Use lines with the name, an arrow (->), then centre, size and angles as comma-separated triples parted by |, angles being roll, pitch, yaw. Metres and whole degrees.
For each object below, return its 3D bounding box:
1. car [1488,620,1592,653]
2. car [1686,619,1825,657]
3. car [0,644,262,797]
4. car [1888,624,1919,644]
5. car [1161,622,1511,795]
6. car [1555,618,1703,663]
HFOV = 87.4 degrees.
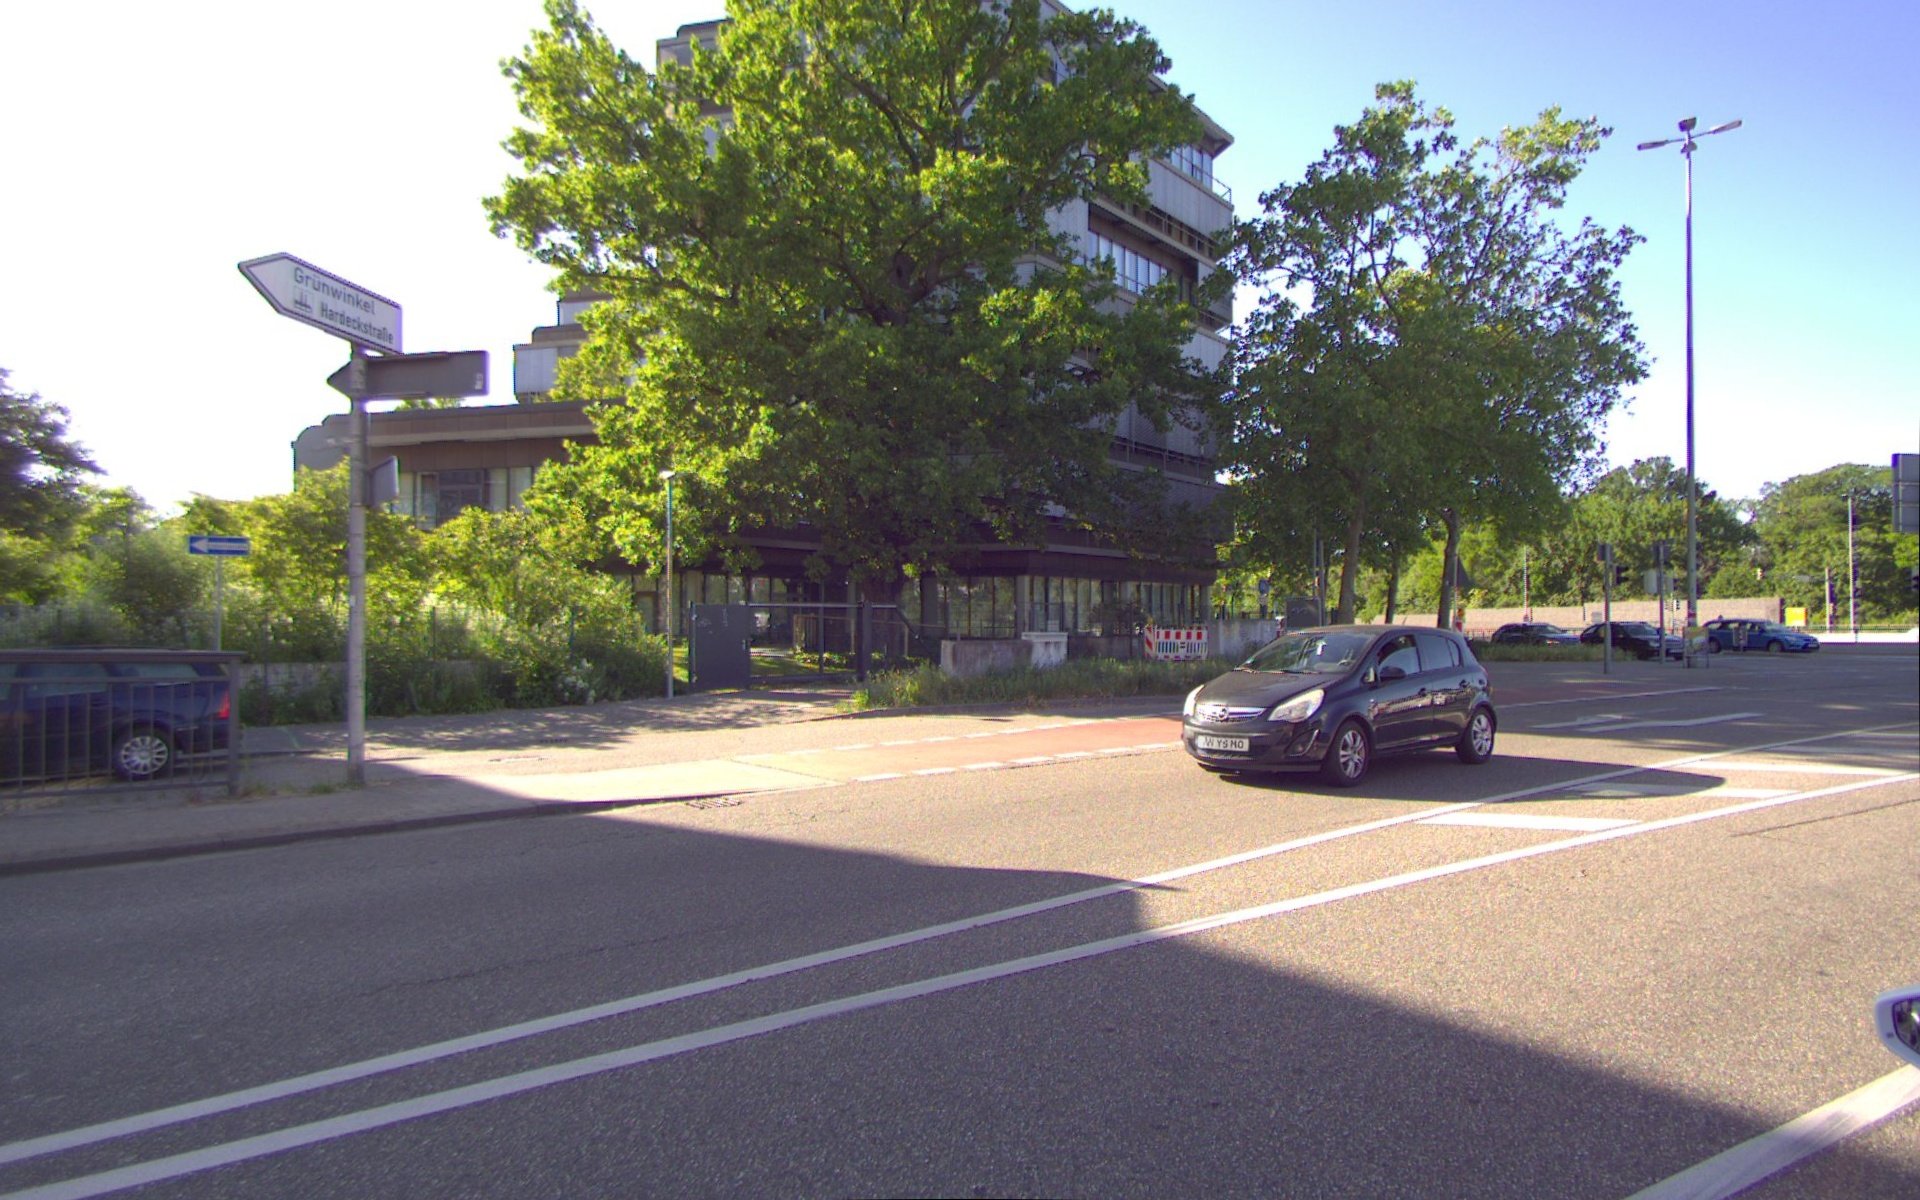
car -> 26.086, 1.624, 45.397 | 1.844, 1.376, 4.507 | 0, -1, -4
car -> 34.324, 1.603, 43.511 | 1.919, 1.561, 4.443 | 0, -1, -16
car -> -10.627, 1.369, 11.422 | 4.339, 1.528, 1.642 | -1, -2, -38
car -> 70.204, 2.456, 72.570 | 1.753, 1.400, 4.512 | 0, 0, -8
car -> 3.924, 0.959, 10.247 | 3.786, 1.426, 1.557 | 0, -1, -37
car -> 25.803, 1.524, 38.989 | 1.918, 1.643, 4.773 | 0, -1, -13
